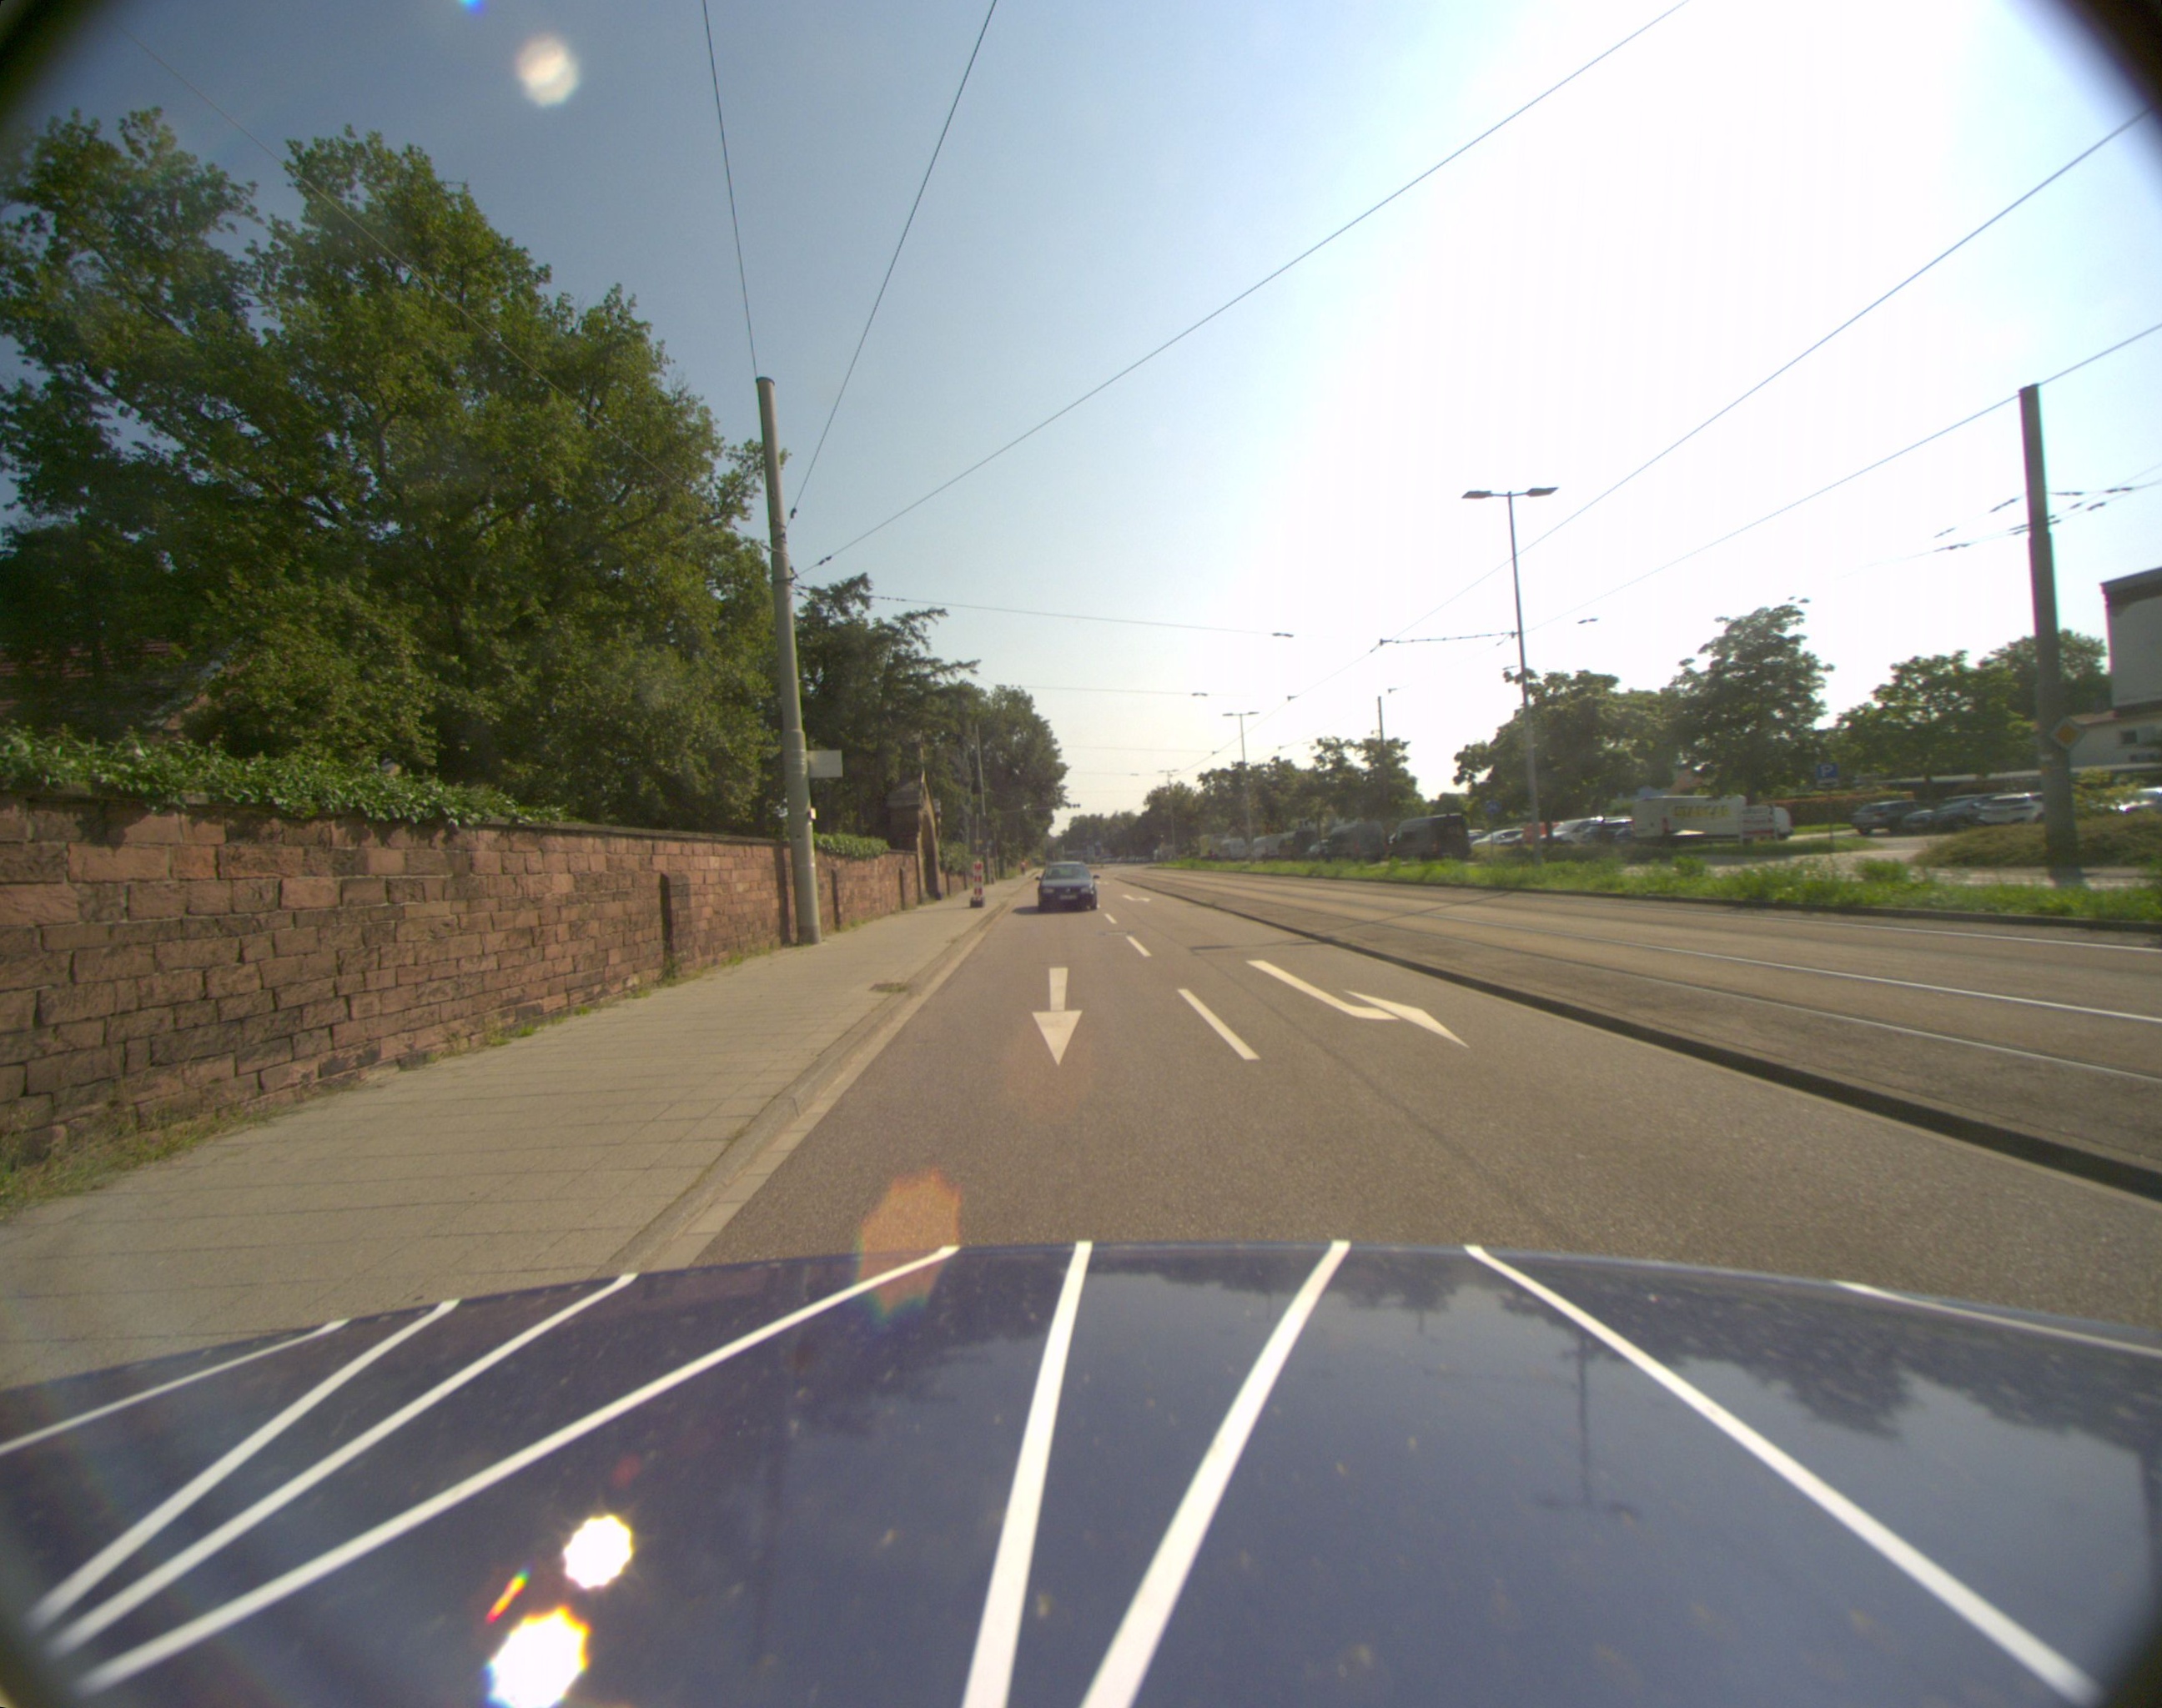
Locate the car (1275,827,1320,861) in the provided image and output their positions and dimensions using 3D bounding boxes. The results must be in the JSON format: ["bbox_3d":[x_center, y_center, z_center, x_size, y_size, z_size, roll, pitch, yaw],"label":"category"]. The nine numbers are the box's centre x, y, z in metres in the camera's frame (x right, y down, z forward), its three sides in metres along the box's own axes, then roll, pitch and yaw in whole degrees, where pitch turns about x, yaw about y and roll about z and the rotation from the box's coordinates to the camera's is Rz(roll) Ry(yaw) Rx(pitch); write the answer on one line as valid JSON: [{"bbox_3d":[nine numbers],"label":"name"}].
[{"bbox_3d":[17.961,-0.760,63.349,1.827,2.571,5.909,-5,0,-1],"label":"car"}]

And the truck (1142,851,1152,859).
[{"bbox_3d":[14.650,0.173,168.842,1.691,1.665,3.655,-3,0,-1],"label":"truck"}]

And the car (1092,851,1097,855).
[{"bbox_3d":[4.716,-0.329,260.620,1.551,1.575,3.454,-3,0,-3],"label":"car"}]

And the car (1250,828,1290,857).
[{"bbox_3d":[17.618,-1.028,71.275,2.138,2.571,5.630,-3,0,-1],"label":"car"}]

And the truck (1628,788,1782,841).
[{"bbox_3d":[29.437,-1.844,35.945,5.505,2.160,2.259,-3,1,-3],"label":"truck"}]

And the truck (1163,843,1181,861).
[{"bbox_3d":[16.499,-0.339,138.680,2.279,3.103,8.786,-3,0,1],"label":"truck"}]

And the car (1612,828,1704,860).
[{"bbox_3d":[29.120,-0.494,38.410,3.414,1.418,1.633,-3,0,-3],"label":"car"}]

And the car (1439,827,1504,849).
[{"bbox_3d":[29.134,-1.185,56.736,3.934,1.441,1.633,-3,0,-3],"label":"car"}]

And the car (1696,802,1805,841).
[{"bbox_3d":[36.326,-1.726,41.409,1.988,1.747,4.421,-4,-1,2],"label":"car"}]

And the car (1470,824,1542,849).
[{"bbox_3d":[28.798,-1.182,51.557,4.170,1.455,1.623,-3,0,-11],"label":"car"}]

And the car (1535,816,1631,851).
[{"bbox_3d":[28.746,-1.162,43.583,4.410,1.774,1.633,-3,1,-3],"label":"car"}]

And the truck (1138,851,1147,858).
[{"bbox_3d":[14.454,0.062,179.164,1.691,1.665,3.655,-3,0,-1],"label":"truck"}]

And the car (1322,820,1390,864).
[{"bbox_3d":[18.278,-0.766,50.864,1.993,2.571,6.466,-5,0,0],"label":"car"}]

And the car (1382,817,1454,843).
[{"bbox_3d":[28.781,-2.067,64.921,5.199,1.914,2.052,-3,1,-3],"label":"car"}]

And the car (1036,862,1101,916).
[{"bbox_3d":[-0.382,0.997,23.400,1.776,1.416,3.934,-2,0,-1],"label":"car"}]

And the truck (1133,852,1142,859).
[{"bbox_3d":[13.815,0.411,184.885,1.691,1.665,3.655,-3,0,-1],"label":"truck"}]

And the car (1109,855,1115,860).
[{"bbox_3d":[9.441,0.982,229.879,1.551,1.575,3.454,-3,0,-3],"label":"car"}]

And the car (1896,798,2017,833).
[{"bbox_3d":[41.408,-1.807,35.987,3.714,1.335,1.491,-4,0,6],"label":"car"}]

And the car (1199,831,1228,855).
[{"bbox_3d":[16.551,-1.311,95.377,2.130,2.789,7.230,-3,0,-1],"label":"car"}]

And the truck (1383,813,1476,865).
[{"bbox_3d":[18.598,-0.766,40.900,2.086,2.533,5.737,-3,0,-2],"label":"truck"}]

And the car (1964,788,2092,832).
[{"bbox_3d":[41.818,-1.911,33.614,3.456,1.493,1.876,-6,0,-5],"label":"car"}]

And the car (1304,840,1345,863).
[{"bbox_3d":[18.226,-0.177,57.023,1.749,1.543,3.833,-5,0,1],"label":"car"}]

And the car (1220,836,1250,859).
[{"bbox_3d":[17.352,-0.755,85.728,2.149,2.444,4.830,-3,0,-3],"label":"car"}]

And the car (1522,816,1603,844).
[{"bbox_3d":[29.299,-1.432,46.299,3.934,1.509,1.633,-3,1,-3],"label":"car"}]

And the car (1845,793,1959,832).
[{"bbox_3d":[42.377,-2.116,39.275,3.811,1.758,1.759,-3,1,3],"label":"car"}]

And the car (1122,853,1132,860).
[{"bbox_3d":[10.346,0.614,170.894,1.930,1.510,3.949,-3,0,1],"label":"car"}]

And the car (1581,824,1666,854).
[{"bbox_3d":[29.157,-0.794,40.862,3.414,1.418,1.633,-3,0,-3],"label":"car"}]
